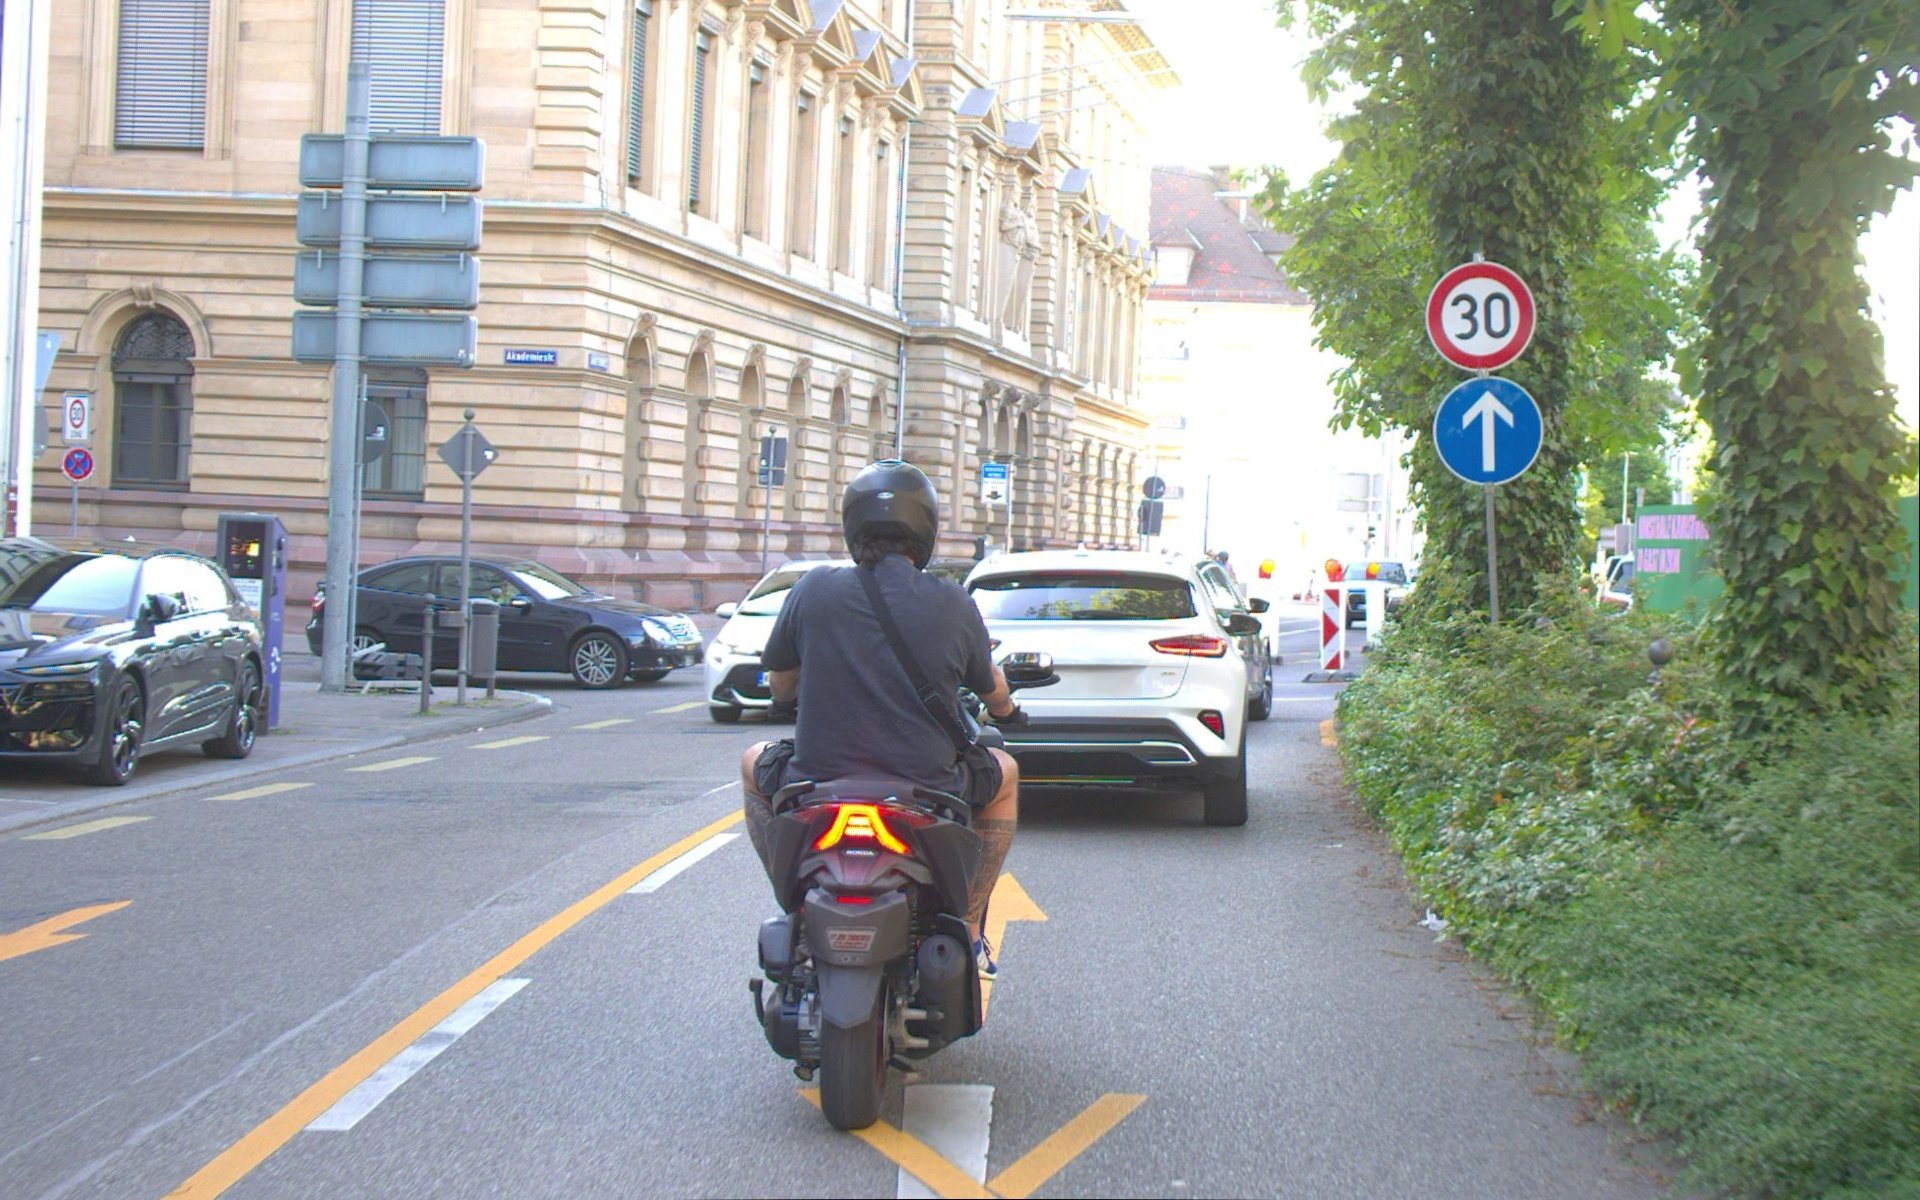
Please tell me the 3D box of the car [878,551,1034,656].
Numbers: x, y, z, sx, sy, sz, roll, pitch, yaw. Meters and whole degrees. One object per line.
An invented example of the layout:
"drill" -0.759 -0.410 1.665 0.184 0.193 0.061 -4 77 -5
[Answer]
"car" -0.018 0.020 54.734 1.994 1.561 4.288 1 1 6

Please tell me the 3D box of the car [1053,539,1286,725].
"car" 1.950 0.244 30.976 1.841 1.458 4.057 3 1 6

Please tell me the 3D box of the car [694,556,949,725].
"car" -1.208 0.325 32.028 1.735 1.416 4.428 -1 1 6

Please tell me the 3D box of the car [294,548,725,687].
"car" -4.901 0.166 37.612 4.316 1.385 1.775 1 1 12

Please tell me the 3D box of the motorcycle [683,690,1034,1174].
"motorcycle" -0.256 0.833 9.249 0.796 1.062 1.725 3 1 -1

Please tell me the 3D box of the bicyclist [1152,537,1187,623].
"bicyclist" 4.075 -0.394 66.800 0.566 1.661 0.834 1 1 9

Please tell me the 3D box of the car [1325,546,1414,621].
"car" 9.691 -0.416 81.502 1.994 1.689 4.398 1 1 6

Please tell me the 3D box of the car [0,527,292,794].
"car" -5.928 0.310 22.810 1.824 1.498 4.760 3 1 2

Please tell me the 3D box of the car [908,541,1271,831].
"car" 0.723 0.405 19.662 1.851 1.475 4.057 0 1 2

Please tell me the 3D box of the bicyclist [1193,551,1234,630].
"bicyclist" 5.243 -0.204 71.137 0.629 1.608 0.869 2 1 17

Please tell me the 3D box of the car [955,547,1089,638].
"car" 1.152 -0.165 61.734 1.994 1.523 4.183 1 1 6

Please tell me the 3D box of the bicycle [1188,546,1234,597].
"bicycle" 5.197 -0.596 71.155 0.533 1.031 1.905 2 1 17

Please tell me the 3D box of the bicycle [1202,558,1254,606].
"bicycle" 5.923 -0.409 75.832 0.533 1.031 2.033 2 1 22

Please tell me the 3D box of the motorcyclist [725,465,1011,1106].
"motorcyclist" -0.240 0.481 9.322 0.657 1.645 0.651 3 1 0

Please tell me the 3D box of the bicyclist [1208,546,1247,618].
"bicyclist" 5.894 -0.397 75.868 0.629 1.548 0.731 2 1 22
